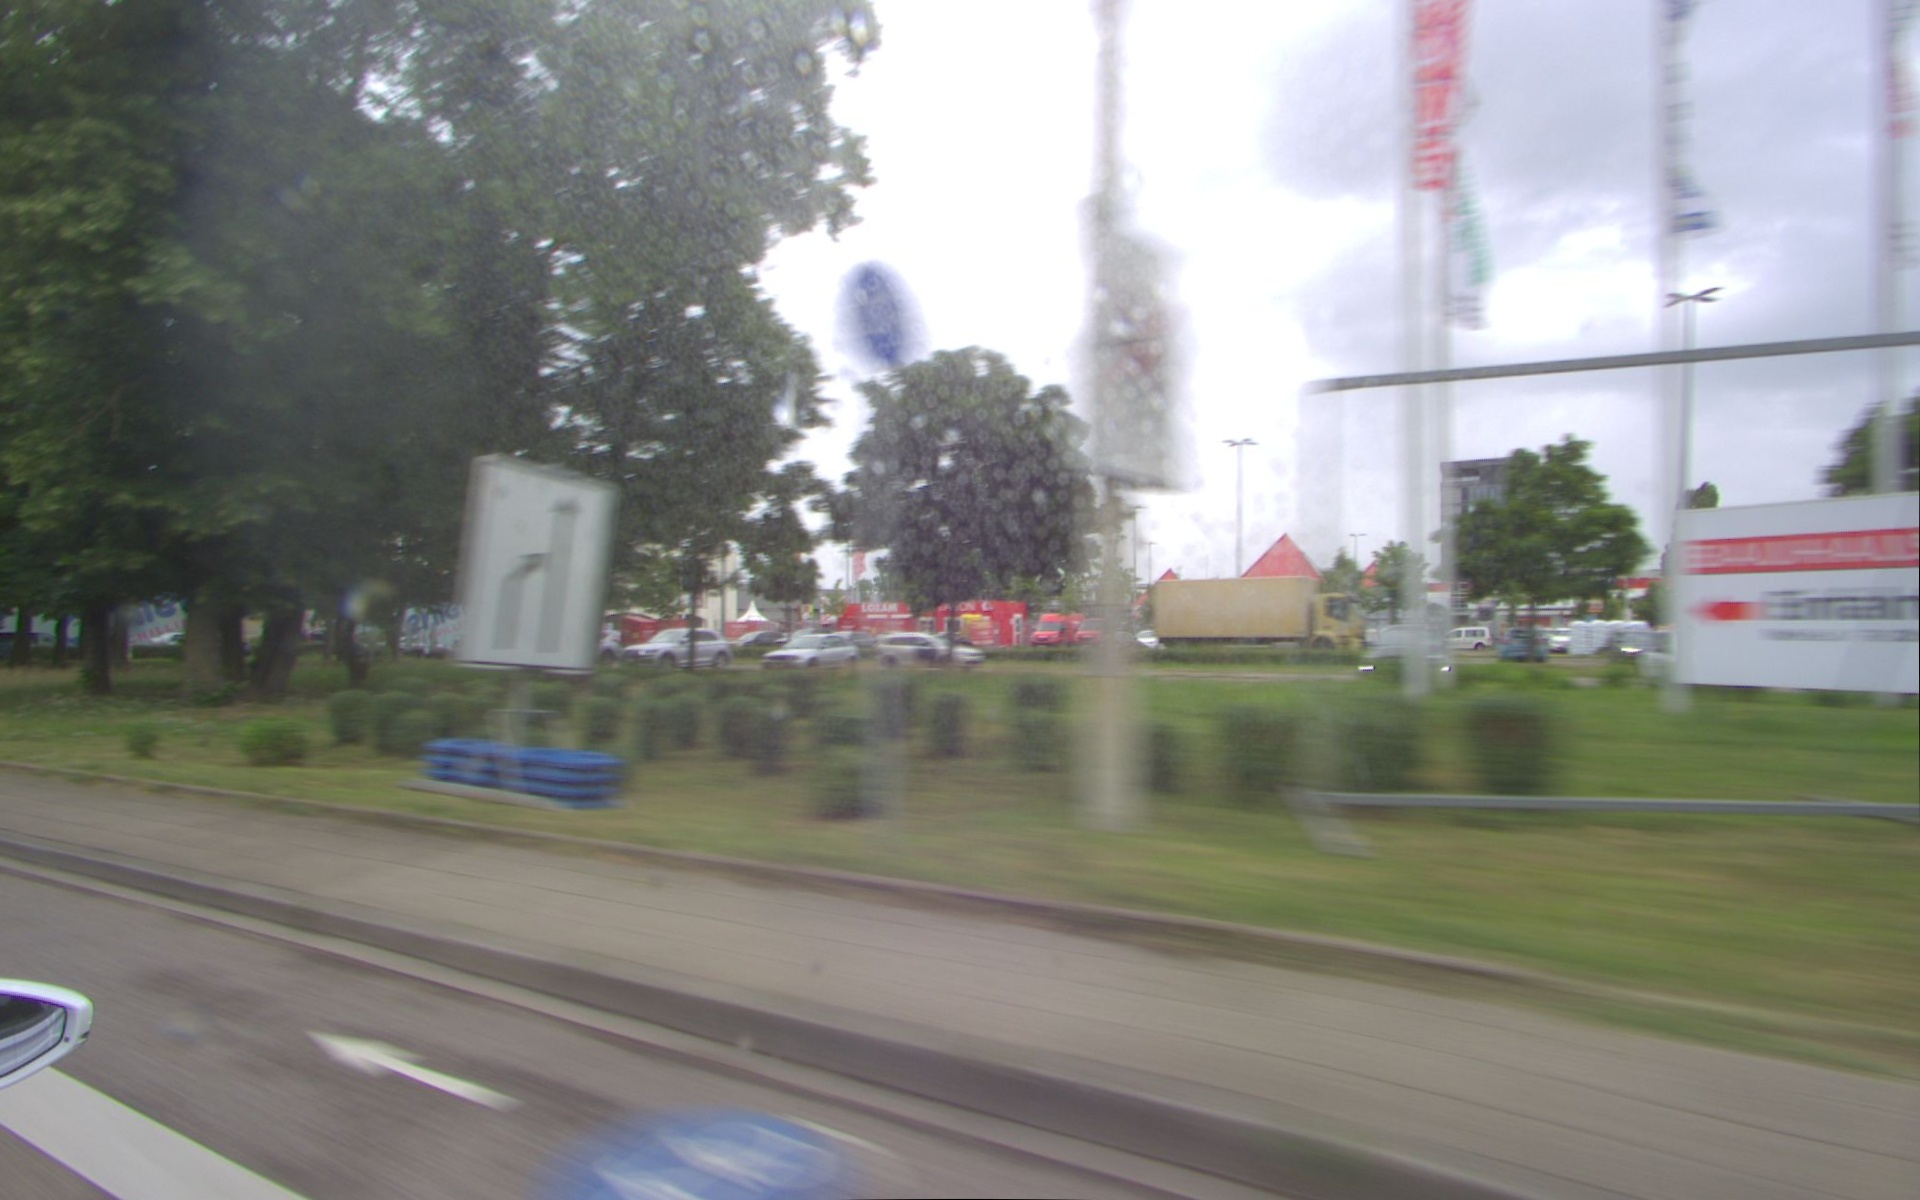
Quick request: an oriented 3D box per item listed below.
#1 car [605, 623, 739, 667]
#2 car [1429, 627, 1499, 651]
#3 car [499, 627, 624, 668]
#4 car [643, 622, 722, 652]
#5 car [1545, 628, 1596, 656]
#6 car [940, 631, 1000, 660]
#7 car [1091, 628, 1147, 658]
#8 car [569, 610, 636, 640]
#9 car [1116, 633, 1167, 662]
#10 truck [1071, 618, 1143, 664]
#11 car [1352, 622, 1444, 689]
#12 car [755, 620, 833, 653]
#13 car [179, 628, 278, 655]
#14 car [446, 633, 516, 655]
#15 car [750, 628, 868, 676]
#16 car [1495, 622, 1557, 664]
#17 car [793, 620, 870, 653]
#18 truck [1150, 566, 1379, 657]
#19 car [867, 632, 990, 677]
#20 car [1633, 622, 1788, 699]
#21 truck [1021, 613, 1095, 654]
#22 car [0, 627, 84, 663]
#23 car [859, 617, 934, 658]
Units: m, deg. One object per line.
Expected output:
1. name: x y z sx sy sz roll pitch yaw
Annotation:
1. car: -10.599 1.720 37.217 2.137 1.515 4.676 -1 -4 28
2. car: 36.981 2.915 73.520 4.440 1.690 1.992 -2 -4 31
3. car: -15.715 1.931 39.770 1.928 1.515 4.535 -1 -4 25
4. car: -16.388 2.176 59.354 2.120 1.698 4.555 -1 -2 24
5. car: 37.915 2.592 62.265 2.120 1.698 4.555 -1 -2 24
6. car: 0.684 2.844 62.936 2.120 1.698 4.554 -1 -2 25
7. car: 9.318 2.481 58.329 2.120 1.698 4.555 -1 -2 24
8. car: -31.411 2.223 88.182 2.042 2.570 5.738 -1 -2 29
9. car: 11.389 2.966 62.656 2.120 1.698 4.555 -1 -2 24
10. truck: 9.887 2.671 66.594 2.445 2.852 7.859 -1 -2 26
11. car: 10.943 1.411 24.978 1.900 1.515 4.603 -1 -4 25
12. car: -9.128 2.002 55.488 2.120 1.698 4.555 -1 -2 24
13. car: -45.193 2.558 61.999 2.042 1.592 4.549 -1 -2 29
14. car: -37.003 3.402 77.446 2.042 1.592 4.549 -1 -2 29
15. car: -5.102 1.815 34.418 1.900 1.515 4.448 -1 -4 25
16. car: 22.004 1.635 38.927 1.958 1.526 4.548 -1 -2 30
17. car: -6.945 1.962 54.500 2.120 1.698 4.555 -1 -2 24
18. truck: 13.097 0.644 43.408 9.110 3.607 2.939 -2 -4 29
19. car: -1.245 2.138 39.182 4.440 1.690 1.992 -2 -4 31
20. car: 16.335 1.347 22.034 1.900 1.515 4.224 -1 -4 26
21. truck: 6.802 2.256 68.429 2.445 2.669 7.859 -1 -2 26
22. car: -50.047 2.381 53.424 2.042 1.813 4.550 0 -2 29
23. car: -3.333 1.960 53.348 2.120 2.077 4.555 -1 -2 24
